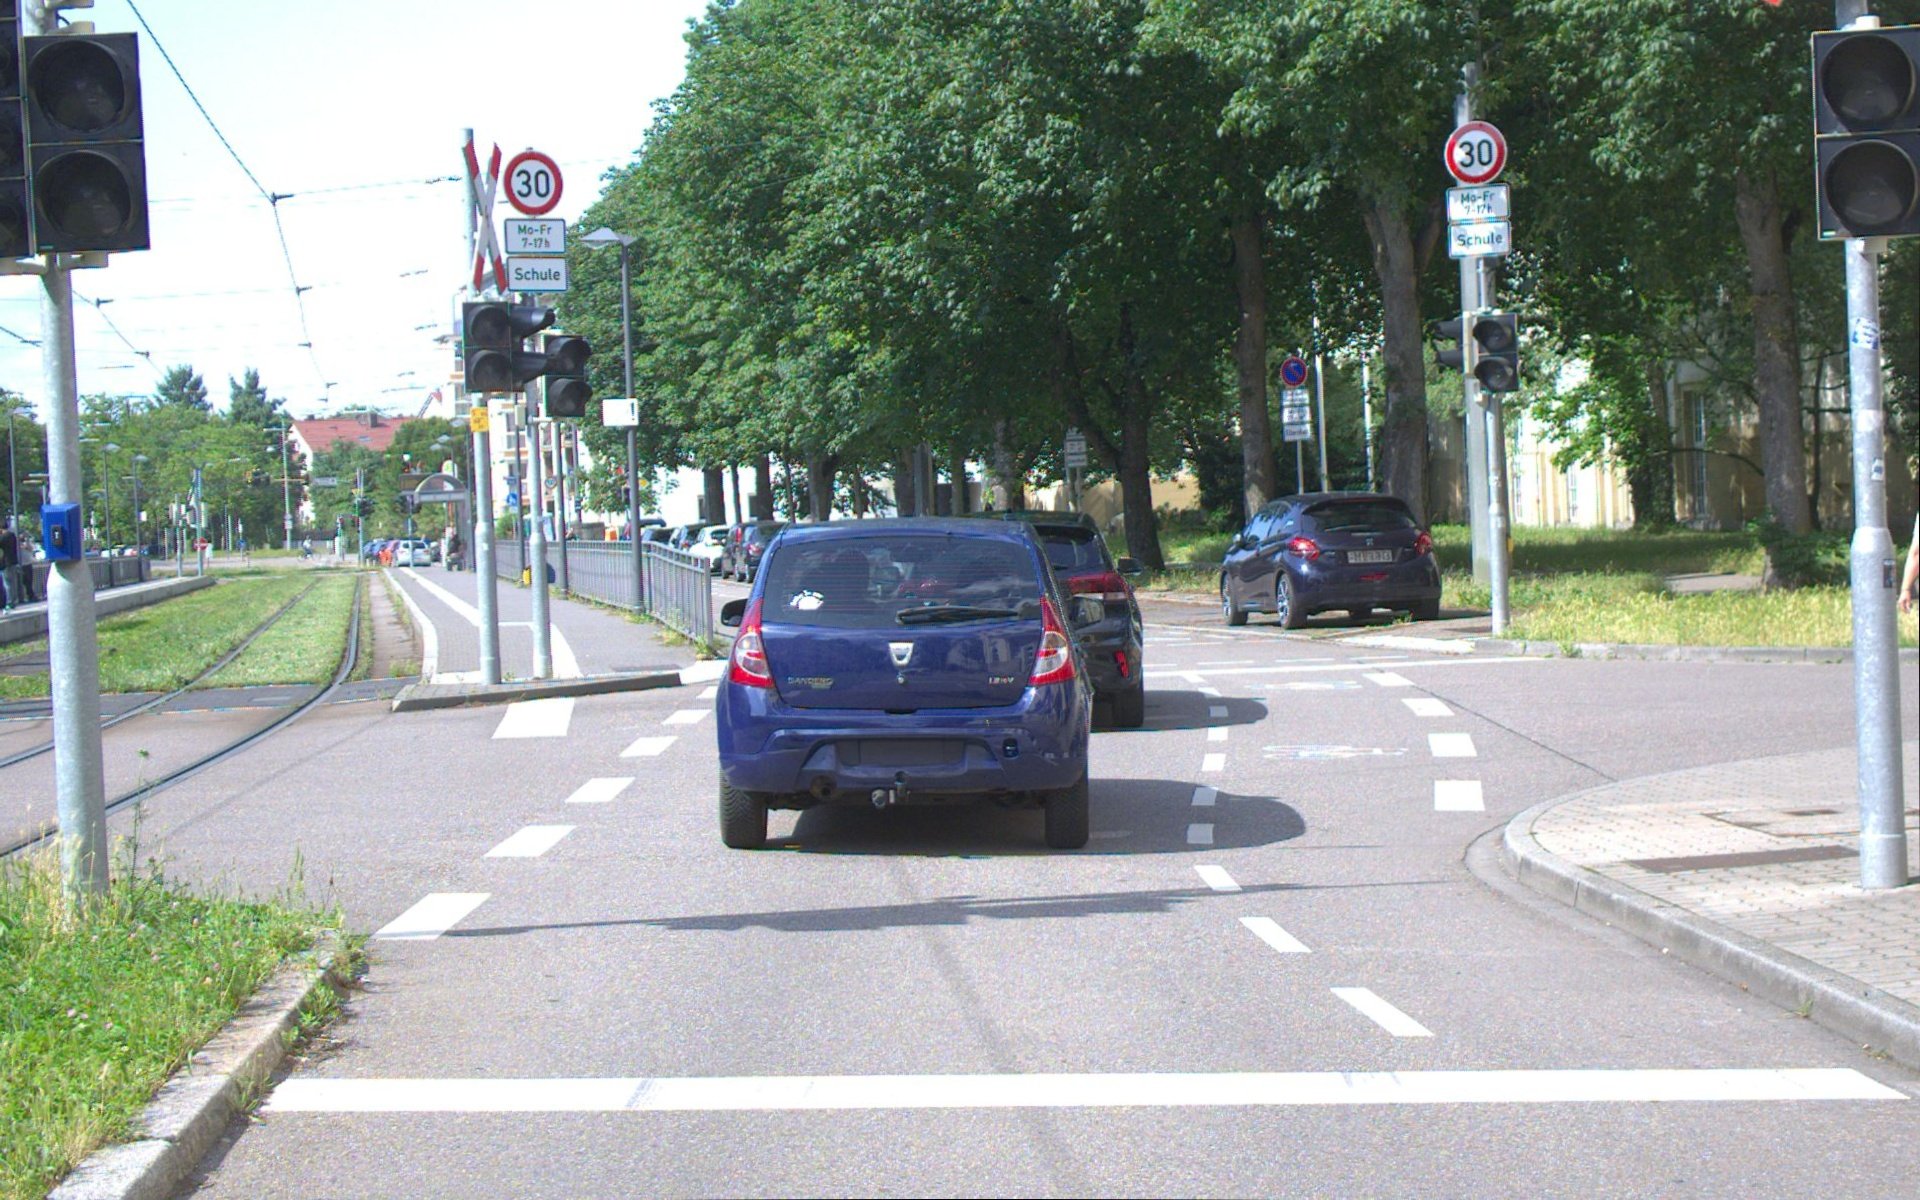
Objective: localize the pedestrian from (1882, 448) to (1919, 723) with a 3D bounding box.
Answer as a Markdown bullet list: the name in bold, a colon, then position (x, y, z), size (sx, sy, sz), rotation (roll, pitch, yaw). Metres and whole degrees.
- **pedestrian**: position (6.010, -0.108, 20.860), size (0.673, 1.642, 0.763), rotation (-3, 1, 19)

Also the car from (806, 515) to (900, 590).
- **car**: position (-2.365, -1.064, 74.967), size (1.851, 1.510, 4.001), rotation (-2, 2, -4)

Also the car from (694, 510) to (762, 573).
- **car**: position (-6.853, -1.737, 101.382), size (1.617, 1.744, 4.001), rotation (-3, 2, -8)

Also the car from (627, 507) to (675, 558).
- **car**: position (-11.314, -2.471, 125.909), size (1.667, 1.765, 4.001), rotation (-3, 2, -5)

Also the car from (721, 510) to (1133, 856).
- **car**: position (-0.181, 0.312, 16.886), size (1.768, 1.457, 3.776), rotation (-1, 2, -1)

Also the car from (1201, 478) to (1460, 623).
- **car**: position (4.041, -0.558, 38.084), size (1.765, 1.428, 3.905), rotation (-3, 2, -10)

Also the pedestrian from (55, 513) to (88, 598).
- **pedestrian**: position (-21.400, -1.083, 82.823), size (0.660, 2.006, 0.804), rotation (-3, 1, -14)

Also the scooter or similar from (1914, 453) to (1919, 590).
- **scooter or similar**: position (8.461, -0.682, 29.789), size (0.305, 1.185, 1.161), rotation (-2, 2, 14)

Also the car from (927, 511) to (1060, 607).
- **car**: position (0.537, -0.715, 58.314), size (1.861, 1.440, 4.001), rotation (-4, 2, -4)

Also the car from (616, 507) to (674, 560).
- **car**: position (-10.947, -2.323, 119.804), size (1.830, 1.755, 4.001), rotation (-2, 2, -4)

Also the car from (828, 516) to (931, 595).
- **car**: position (-1.682, -0.938, 70.488), size (1.861, 1.440, 4.001), rotation (-4, 2, -4)

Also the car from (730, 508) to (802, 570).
- **car**: position (-5.262, -1.660, 92.846), size (1.827, 1.532, 4.001), rotation (-3, 2, -4)

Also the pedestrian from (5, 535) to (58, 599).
- **pedestrian**: position (-22.109, -0.789, 81.854), size (1.028, 1.432, 0.703), rotation (-5, 2, -23)

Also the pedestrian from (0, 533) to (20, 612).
- **pedestrian**: position (-17.597, -0.483, 62.547), size (0.655, 1.421, 0.562), rotation (-2, 2, 28)

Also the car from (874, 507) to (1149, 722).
- **car**: position (0.289, 0.044, 23.867), size (1.700, 1.363, 3.515), rotation (0, 2, -3)

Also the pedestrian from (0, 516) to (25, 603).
- **pedestrian**: position (-18.966, -0.802, 68.584), size (0.488, 1.706, 0.464), rotation (-4, 2, -19)
